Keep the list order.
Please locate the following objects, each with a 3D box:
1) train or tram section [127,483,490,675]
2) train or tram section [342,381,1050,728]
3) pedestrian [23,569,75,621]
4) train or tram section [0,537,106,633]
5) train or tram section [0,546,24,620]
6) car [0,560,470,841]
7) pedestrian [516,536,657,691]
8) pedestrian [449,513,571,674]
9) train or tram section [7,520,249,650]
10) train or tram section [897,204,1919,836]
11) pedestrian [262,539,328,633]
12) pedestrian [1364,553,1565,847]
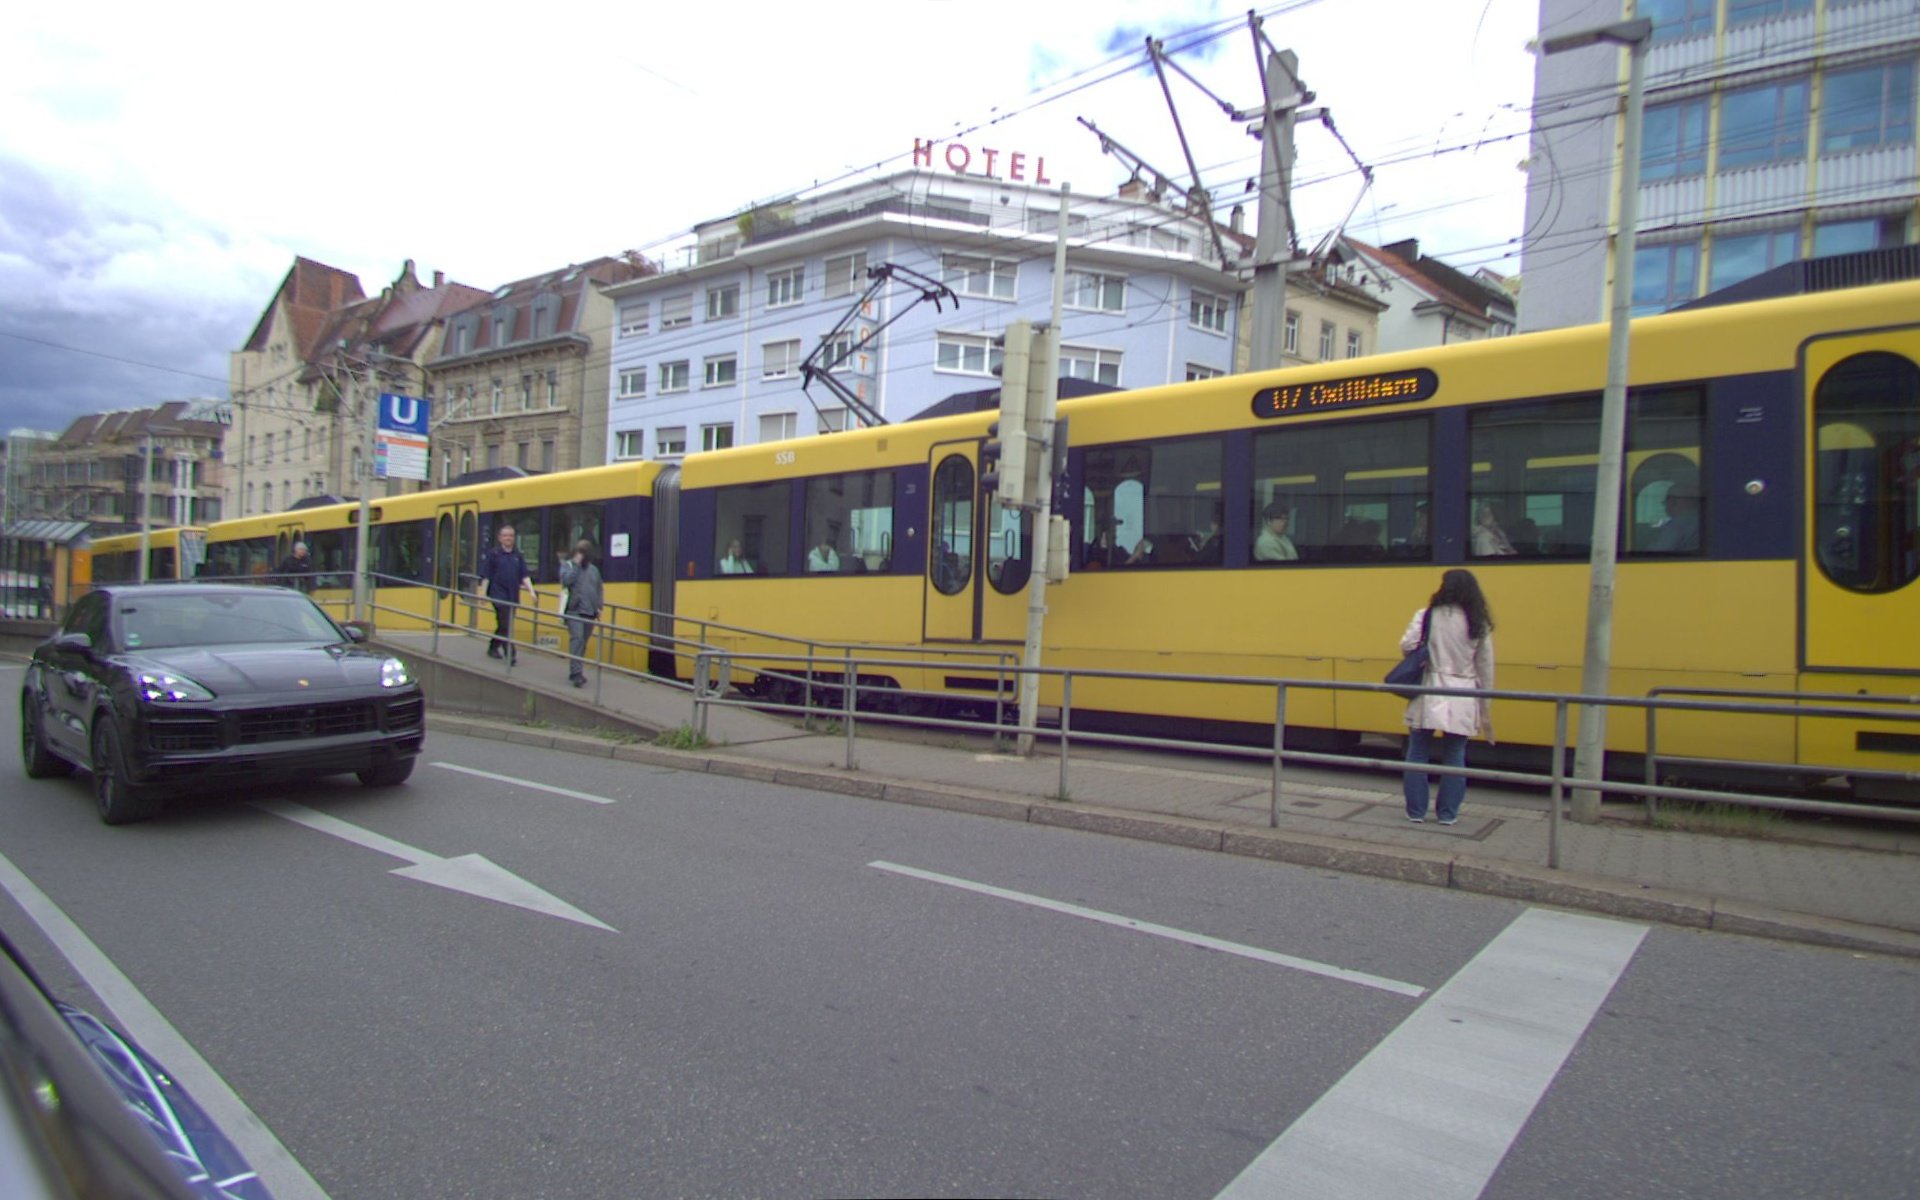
[{"bbox_3d":[-16.593,-0.399,24.892,14.208,3.691,2.854,0,-1,38],"label":"train or tram section"},{"bbox_3d":[-5.336,-0.462,16.227,14.208,3.691,2.854,0,-1,38],"label":"train or tram section"},{"bbox_3d":[-23.754,-0.121,26.386,0.777,1.316,0.841,0,-3,39],"label":"pedestrian"},{"bbox_3d":[-39.291,-0.549,42.078,14.209,3.467,2.854,0,1,38],"label":"train or tram section"},{"bbox_3d":[-50.472,-0.769,50.758,14.209,3.445,2.854,0,1,38],"label":"train or tram section"},{"bbox_3d":[-6.212,0.624,8.428,4.776,1.698,2.008,0,-1,39],"label":"car"},{"bbox_3d":[-4.448,0.150,12.084,1.040,1.692,1.106,6,2,38],"label":"pedestrian"},{"bbox_3d":[-5.901,-0.096,13.276,1.232,1.984,0.920,3,0,39],"label":"pedestrian"},{"bbox_3d":[-27.916,-0.508,33.505,14.205,3.585,2.896,1,1,37],"label":"train or tram section"},{"bbox_3d":[5.928,-0.449,7.452,14.454,3.691,2.854,0,-1,38],"label":"train or tram section"},{"bbox_3d":[-11.676,-0.232,17.770,0.664,1.596,0.771,0,-2,38],"label":"pedestrian"},{"bbox_3d":[3.101,0.565,6.222,0.999,1.637,0.669,0,-2,38],"label":"pedestrian"}]
